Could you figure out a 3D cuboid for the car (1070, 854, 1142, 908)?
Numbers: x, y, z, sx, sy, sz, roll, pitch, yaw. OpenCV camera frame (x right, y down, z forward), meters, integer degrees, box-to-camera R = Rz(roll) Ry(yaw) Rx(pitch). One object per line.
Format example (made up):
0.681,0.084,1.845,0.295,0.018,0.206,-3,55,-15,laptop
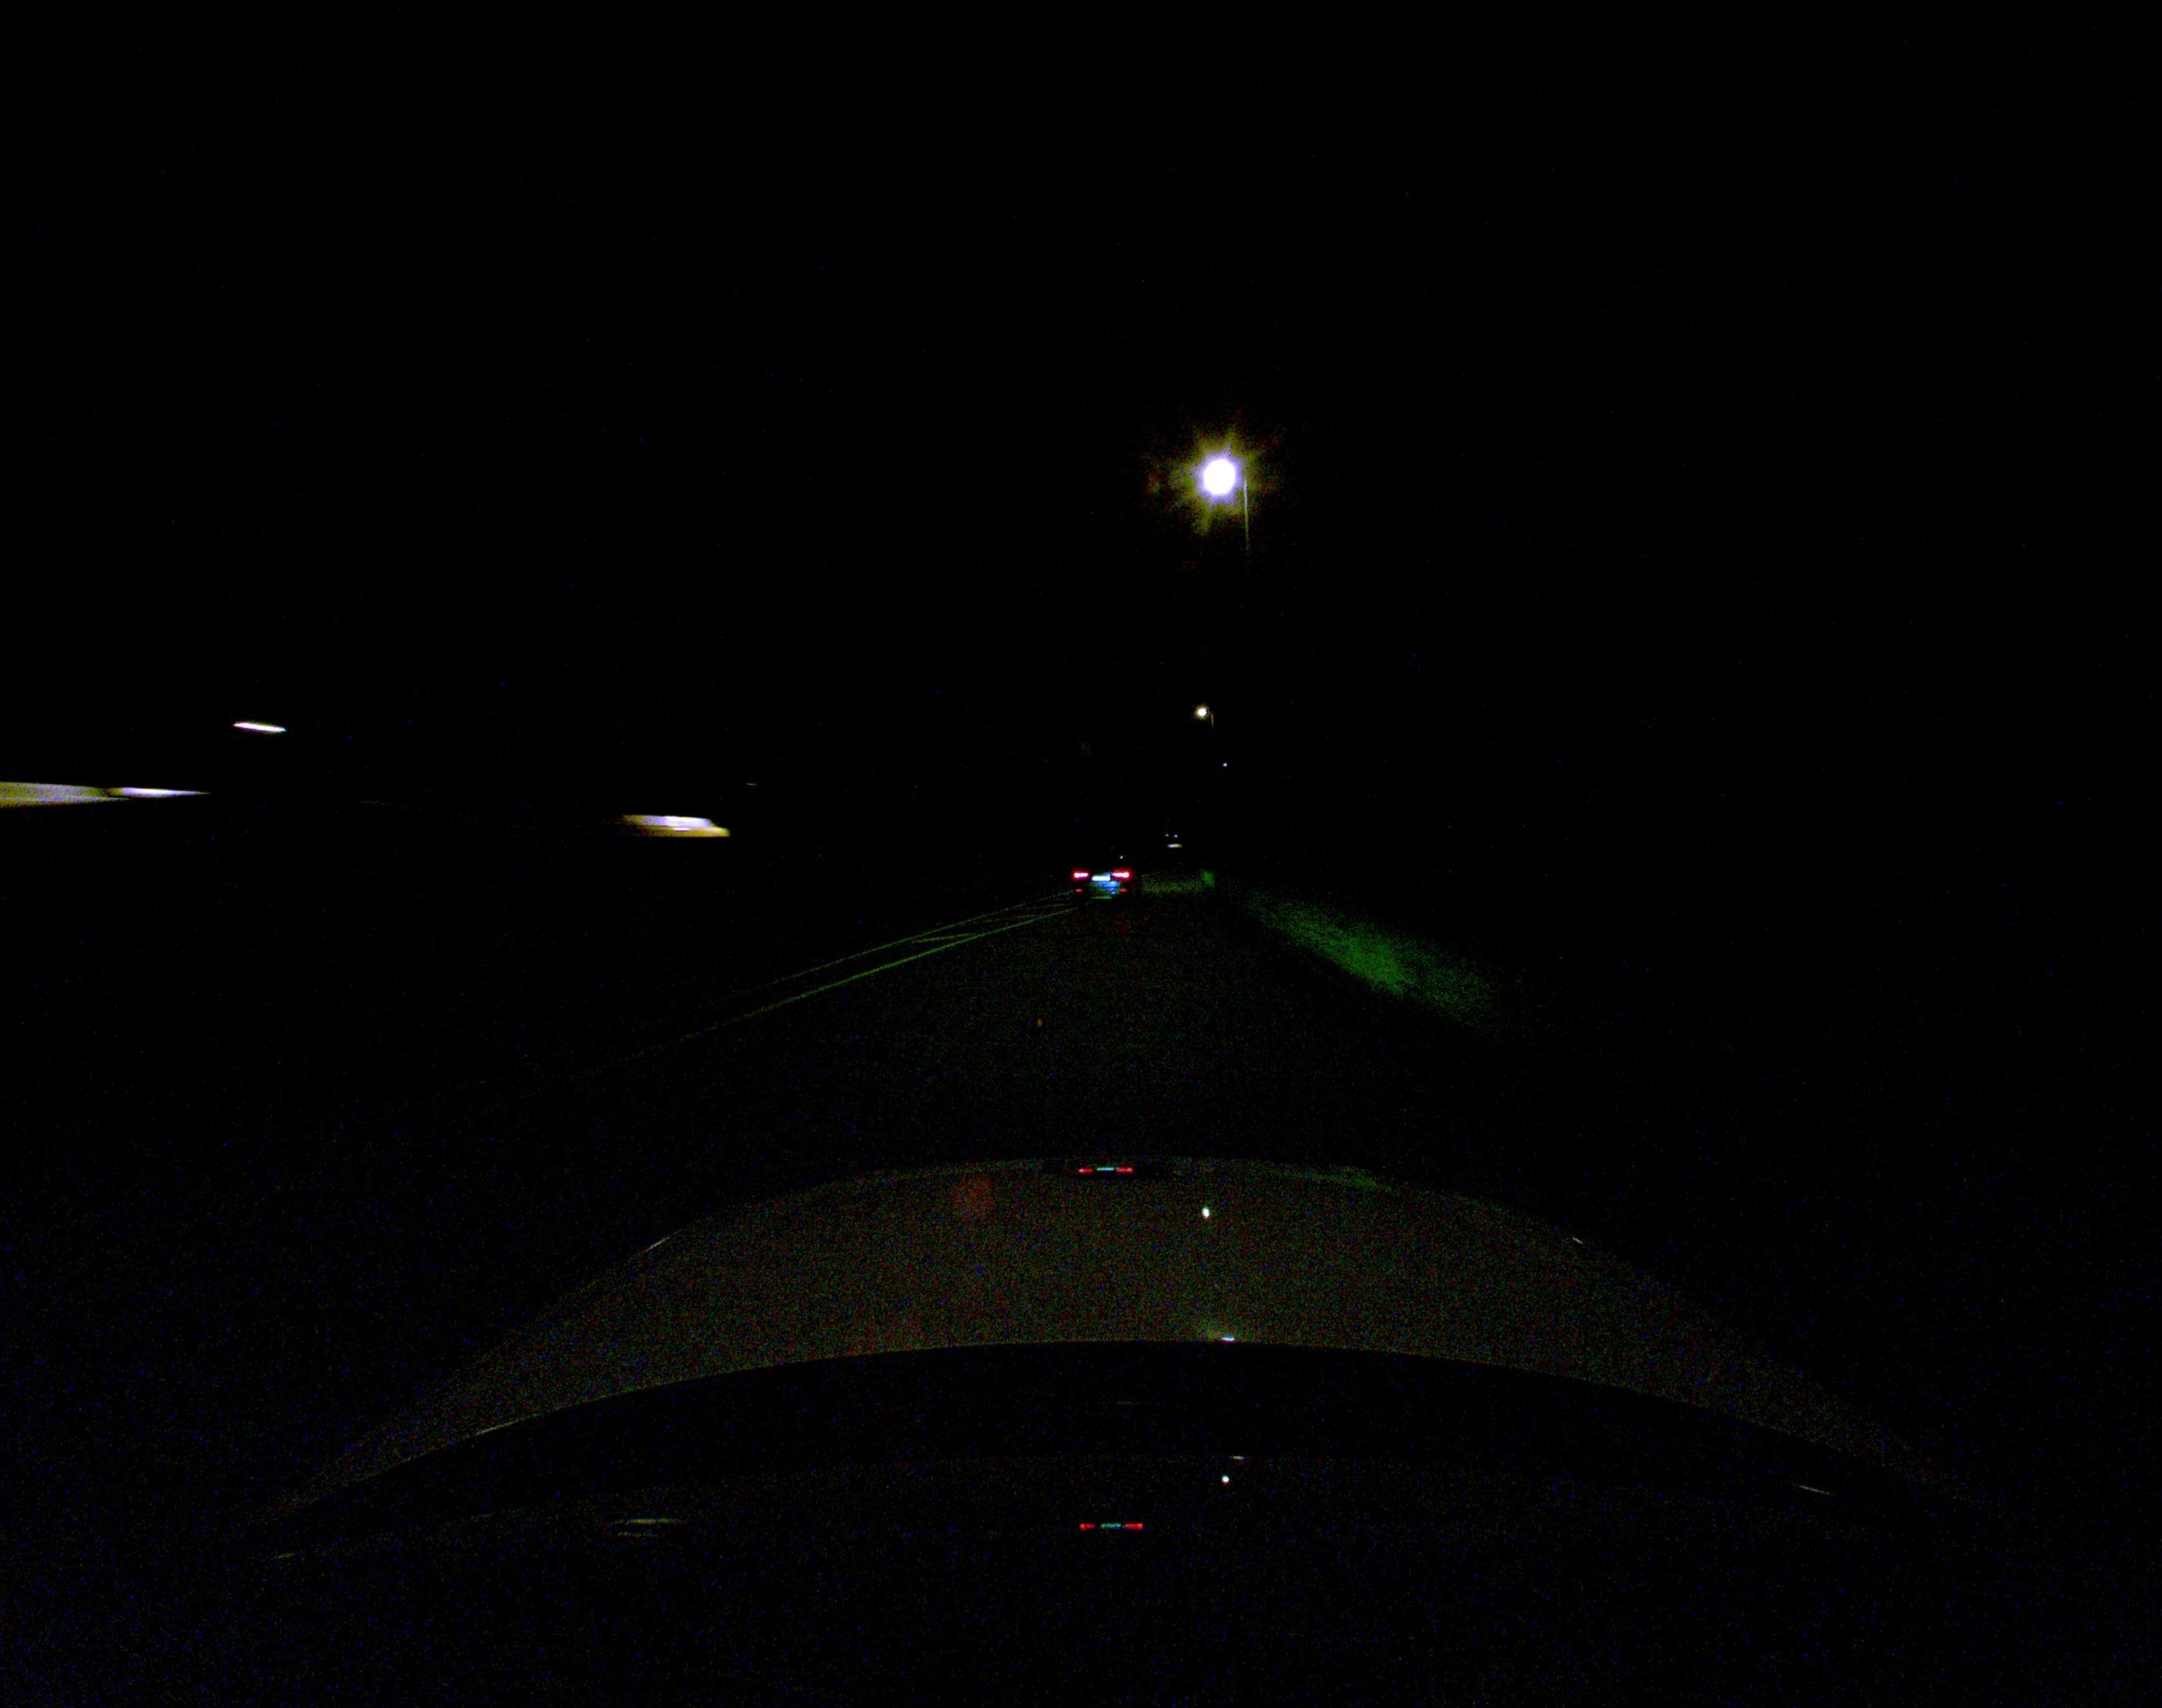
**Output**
0.861,0.782,25.551,1.804,1.573,3.952,-1,0,8,car
